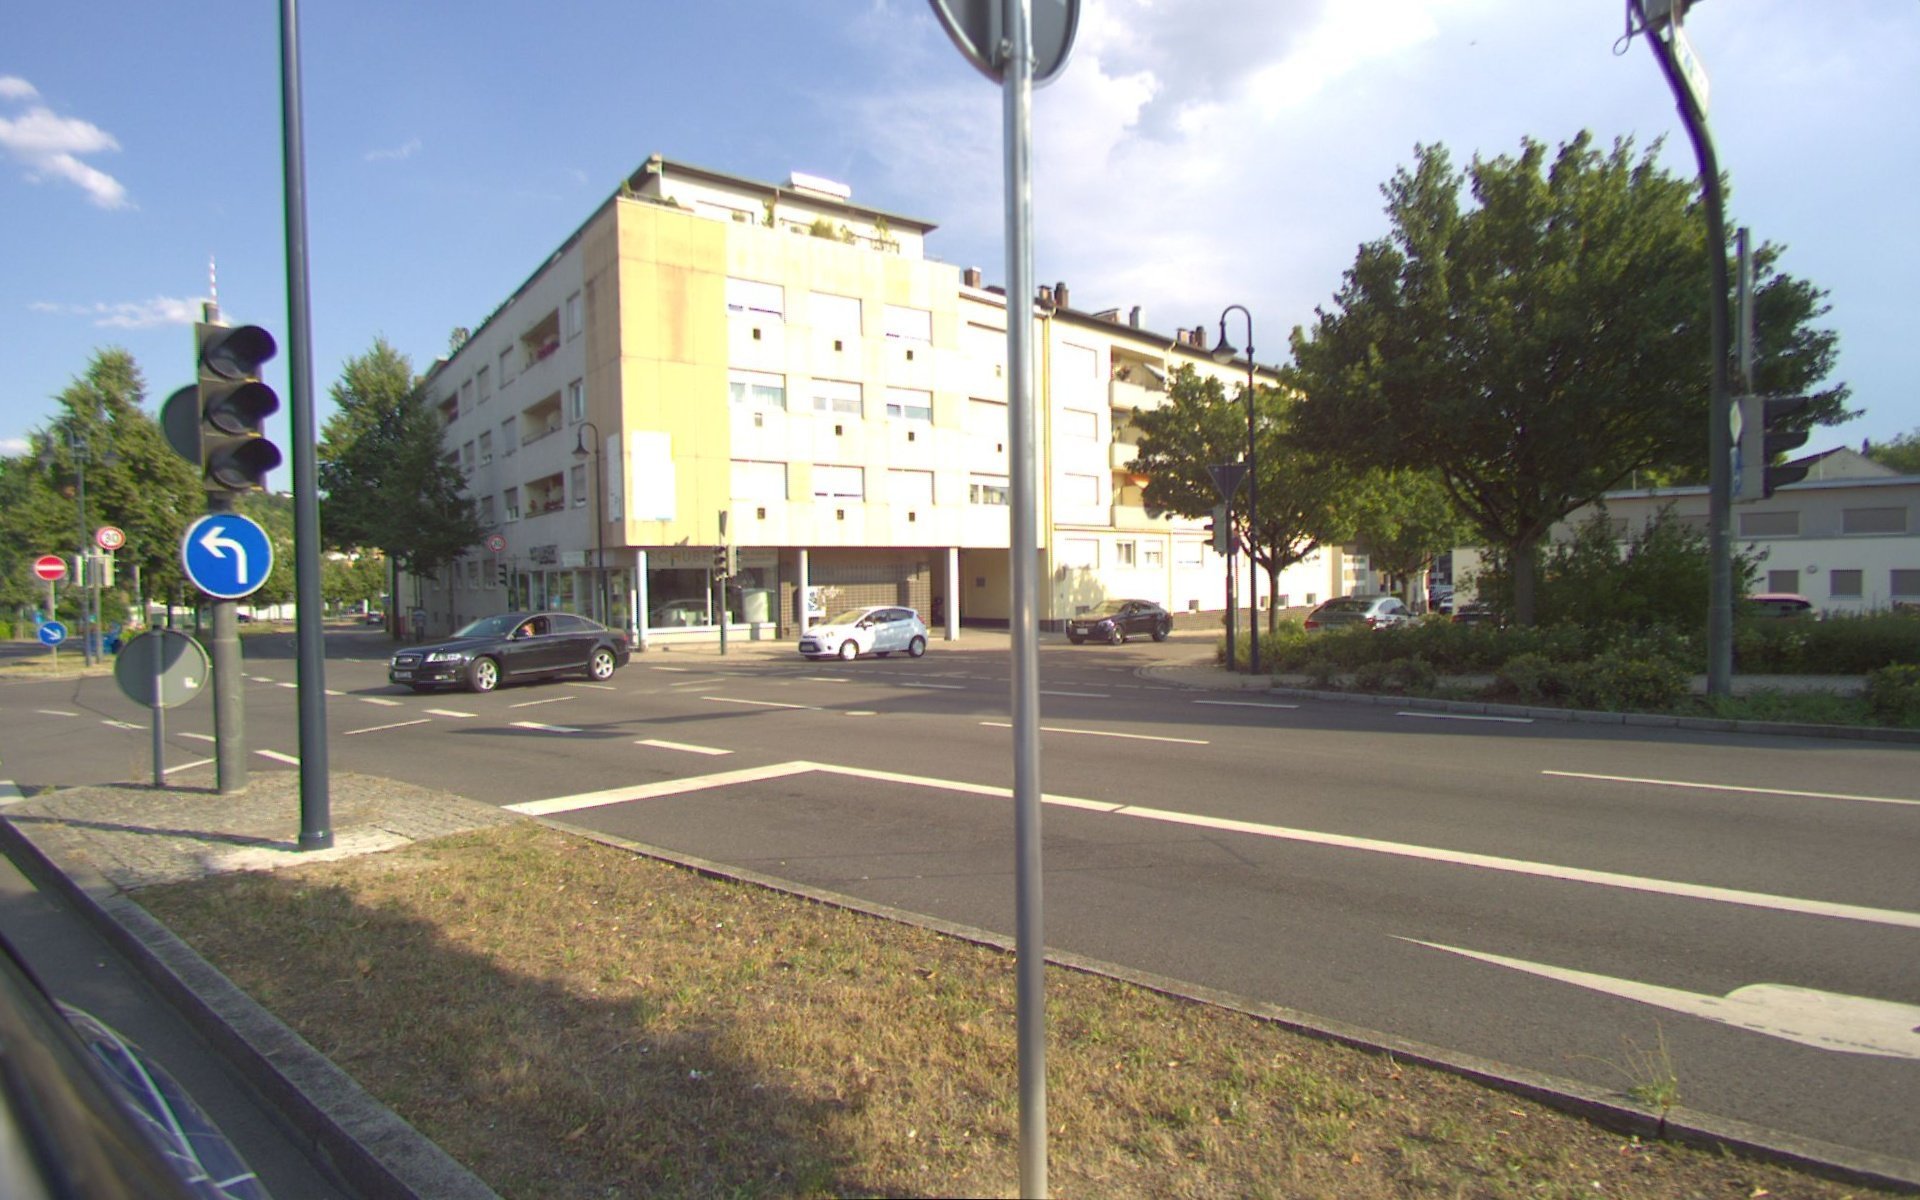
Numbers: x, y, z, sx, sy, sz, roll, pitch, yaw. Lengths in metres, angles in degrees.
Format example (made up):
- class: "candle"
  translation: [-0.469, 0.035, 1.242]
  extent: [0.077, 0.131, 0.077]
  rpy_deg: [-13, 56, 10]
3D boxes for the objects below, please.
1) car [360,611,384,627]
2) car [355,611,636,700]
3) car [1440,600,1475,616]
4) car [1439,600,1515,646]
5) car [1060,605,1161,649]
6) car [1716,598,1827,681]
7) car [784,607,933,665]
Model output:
- class: "car"
  translation: [-66.793, 2.132, 115.072]
  extent: [1.826, 1.750, 4.939]
  rpy_deg: [0, -1, -24]
- class: "car"
  translation: [-8.688, 0.963, 19.466]
  extent: [1.907, 1.447, 4.831]
  rpy_deg: [-1, -1, 26]
- class: "car"
  translation: [39.834, 0.636, 81.032]
  extent: [1.746, 1.269, 3.545]
  rpy_deg: [-1, -1, 39]
- class: "car"
  translation: [16.962, 0.724, 33.132]
  extent: [1.744, 1.410, 3.614]
  rpy_deg: [-1, -1, 35]
- class: "car"
  translation: [5.302, 0.924, 35.460]
  extent: [1.749, 1.447, 3.540]
  rpy_deg: [-1, -1, 44]
- class: "car"
  translation: [16.188, 0.709, 20.132]
  extent: [1.562, 1.481, 3.563]
  rpy_deg: [0, 0, 42]
- class: "car"
  translation: [-2.735, 0.933, 27.723]
  extent: [1.869, 1.447, 3.769]
  rpy_deg: [-1, -1, 45]
